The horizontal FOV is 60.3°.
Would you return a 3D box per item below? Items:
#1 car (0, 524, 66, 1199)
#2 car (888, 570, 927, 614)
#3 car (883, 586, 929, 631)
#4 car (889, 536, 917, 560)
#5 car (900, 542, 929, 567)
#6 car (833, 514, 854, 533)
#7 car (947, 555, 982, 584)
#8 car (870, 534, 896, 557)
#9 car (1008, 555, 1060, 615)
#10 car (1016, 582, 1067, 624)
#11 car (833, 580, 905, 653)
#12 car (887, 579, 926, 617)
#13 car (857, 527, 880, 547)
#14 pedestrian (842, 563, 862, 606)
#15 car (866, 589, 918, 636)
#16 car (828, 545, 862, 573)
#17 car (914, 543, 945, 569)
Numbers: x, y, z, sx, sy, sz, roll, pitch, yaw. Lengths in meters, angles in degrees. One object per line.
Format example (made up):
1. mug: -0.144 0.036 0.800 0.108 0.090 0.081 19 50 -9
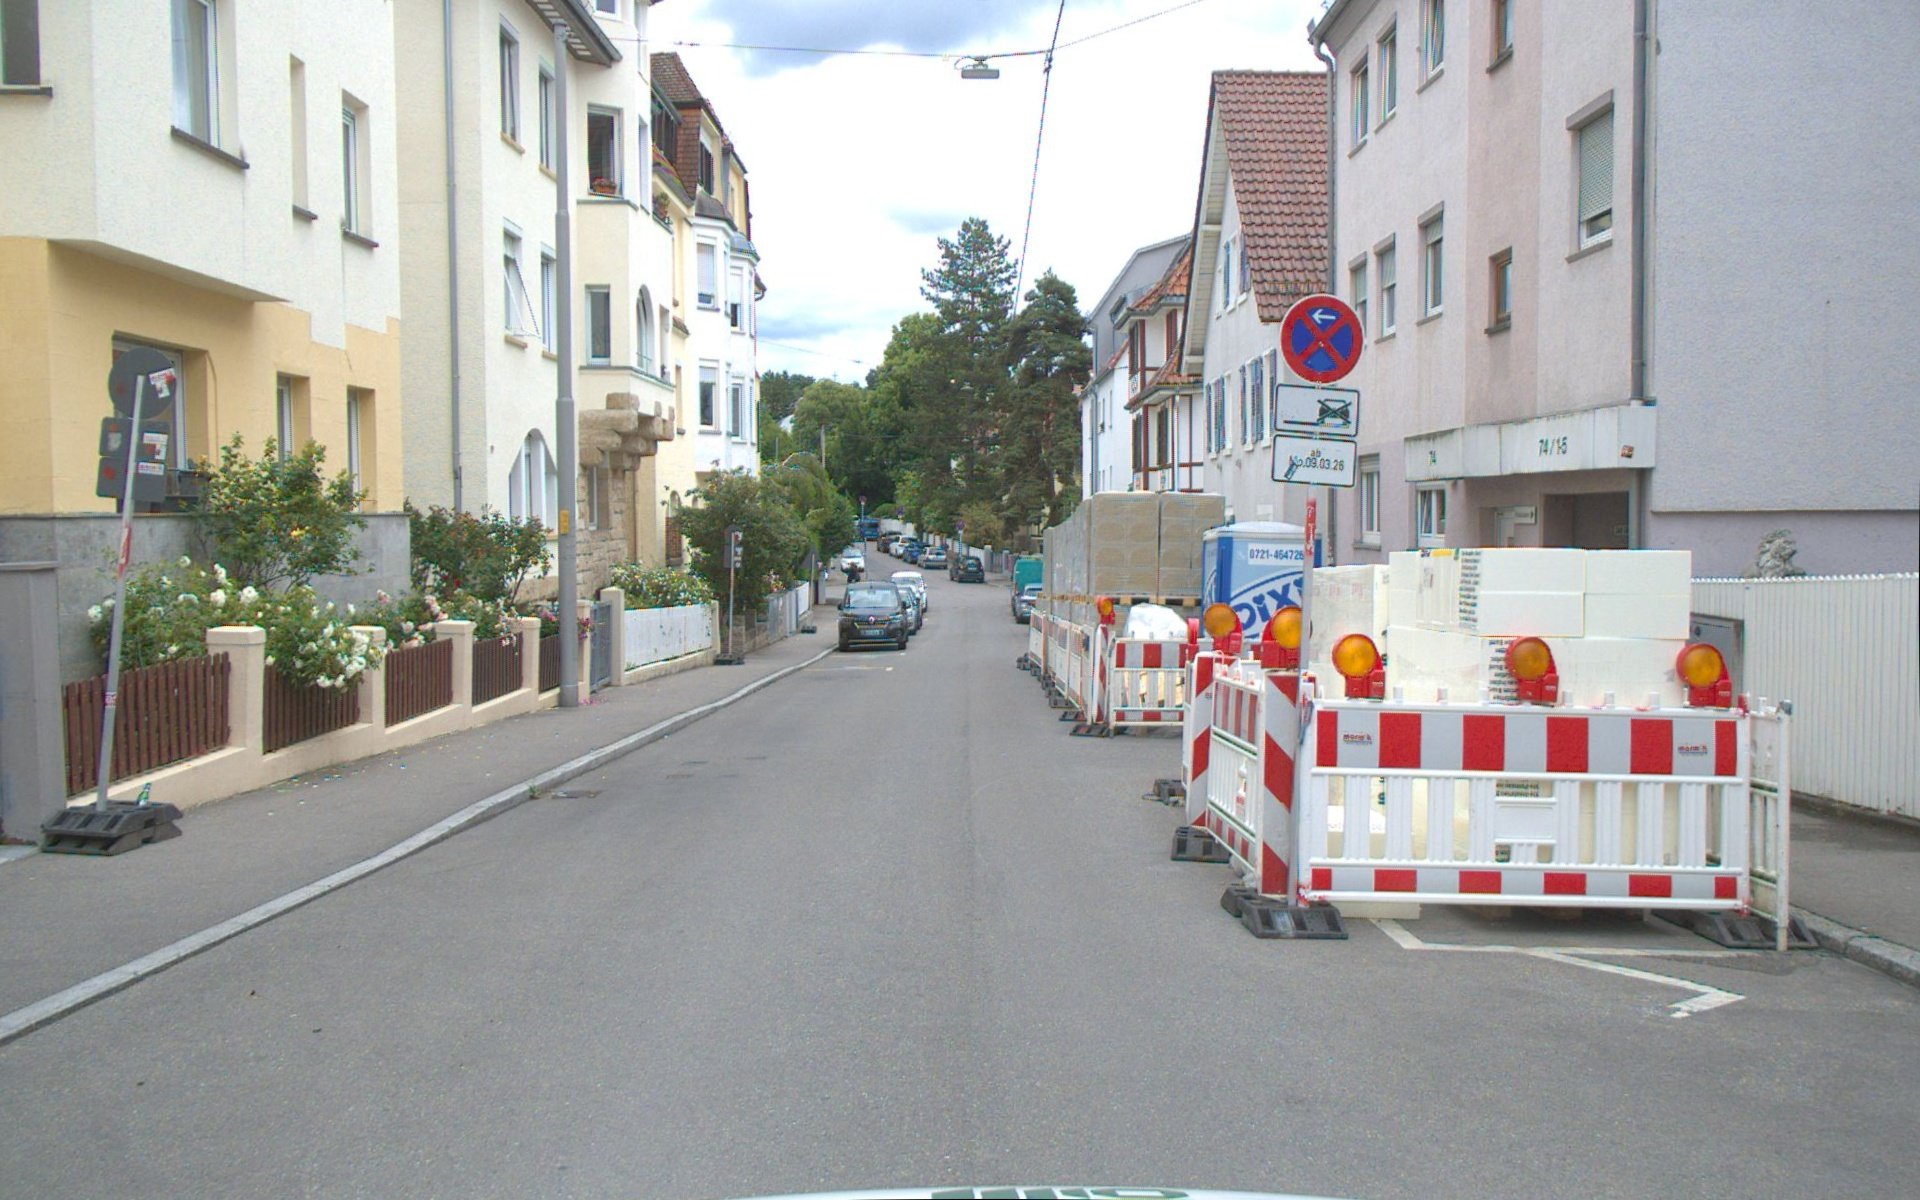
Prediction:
1. car: -2.533 0.733 0.968 1.808 1.659 4.285 0 1 -2
2. car: -2.316 -0.374 73.478 1.638 1.685 3.864 -1 4 -1
3. car: -1.921 0.273 59.754 1.564 1.504 3.990 -1 1 -1
4. car: -4.224 -3.883 122.497 1.604 1.563 3.525 1 5 -9
5. car: -3.211 -3.203 116.417 1.604 1.509 3.525 1 5 -9
6. car: -10.766 -7.101 152.802 1.604 1.563 3.525 1 5 -9
7. car: 0.273 -1.853 99.957 1.603 1.509 3.526 1 4 -8
8. car: -5.976 -4.261 128.228 1.604 1.563 3.525 1 5 -9
9. car: 3.083 -0.668 69.714 1.940 2.403 4.277 0 2 -1
10. car: 3.087 0.084 63.316 1.690 1.473 3.880 0 2 -1
11. car: -2.456 0.393 44.621 1.808 1.847 4.542 -1 1 -3
12. car: -2.225 -0.109 69.375 1.564 1.437 3.663 -1 2 -1
13. car: -7.871 -5.462 142.702 1.604 1.563 3.525 1 5 -9
14. pedestrian: -5.043 -0.733 77.298 0.775 1.966 0.920 1 1 2
15. car: -2.233 0.392 54.926 1.609 1.441 3.983 -1 1 -1
16. car: -7.631 -2.723 109.206 1.643 1.685 3.852 -2 4 -13
17. car: -2.095 -2.962 111.809 1.604 1.509 3.525 1 5 -9
